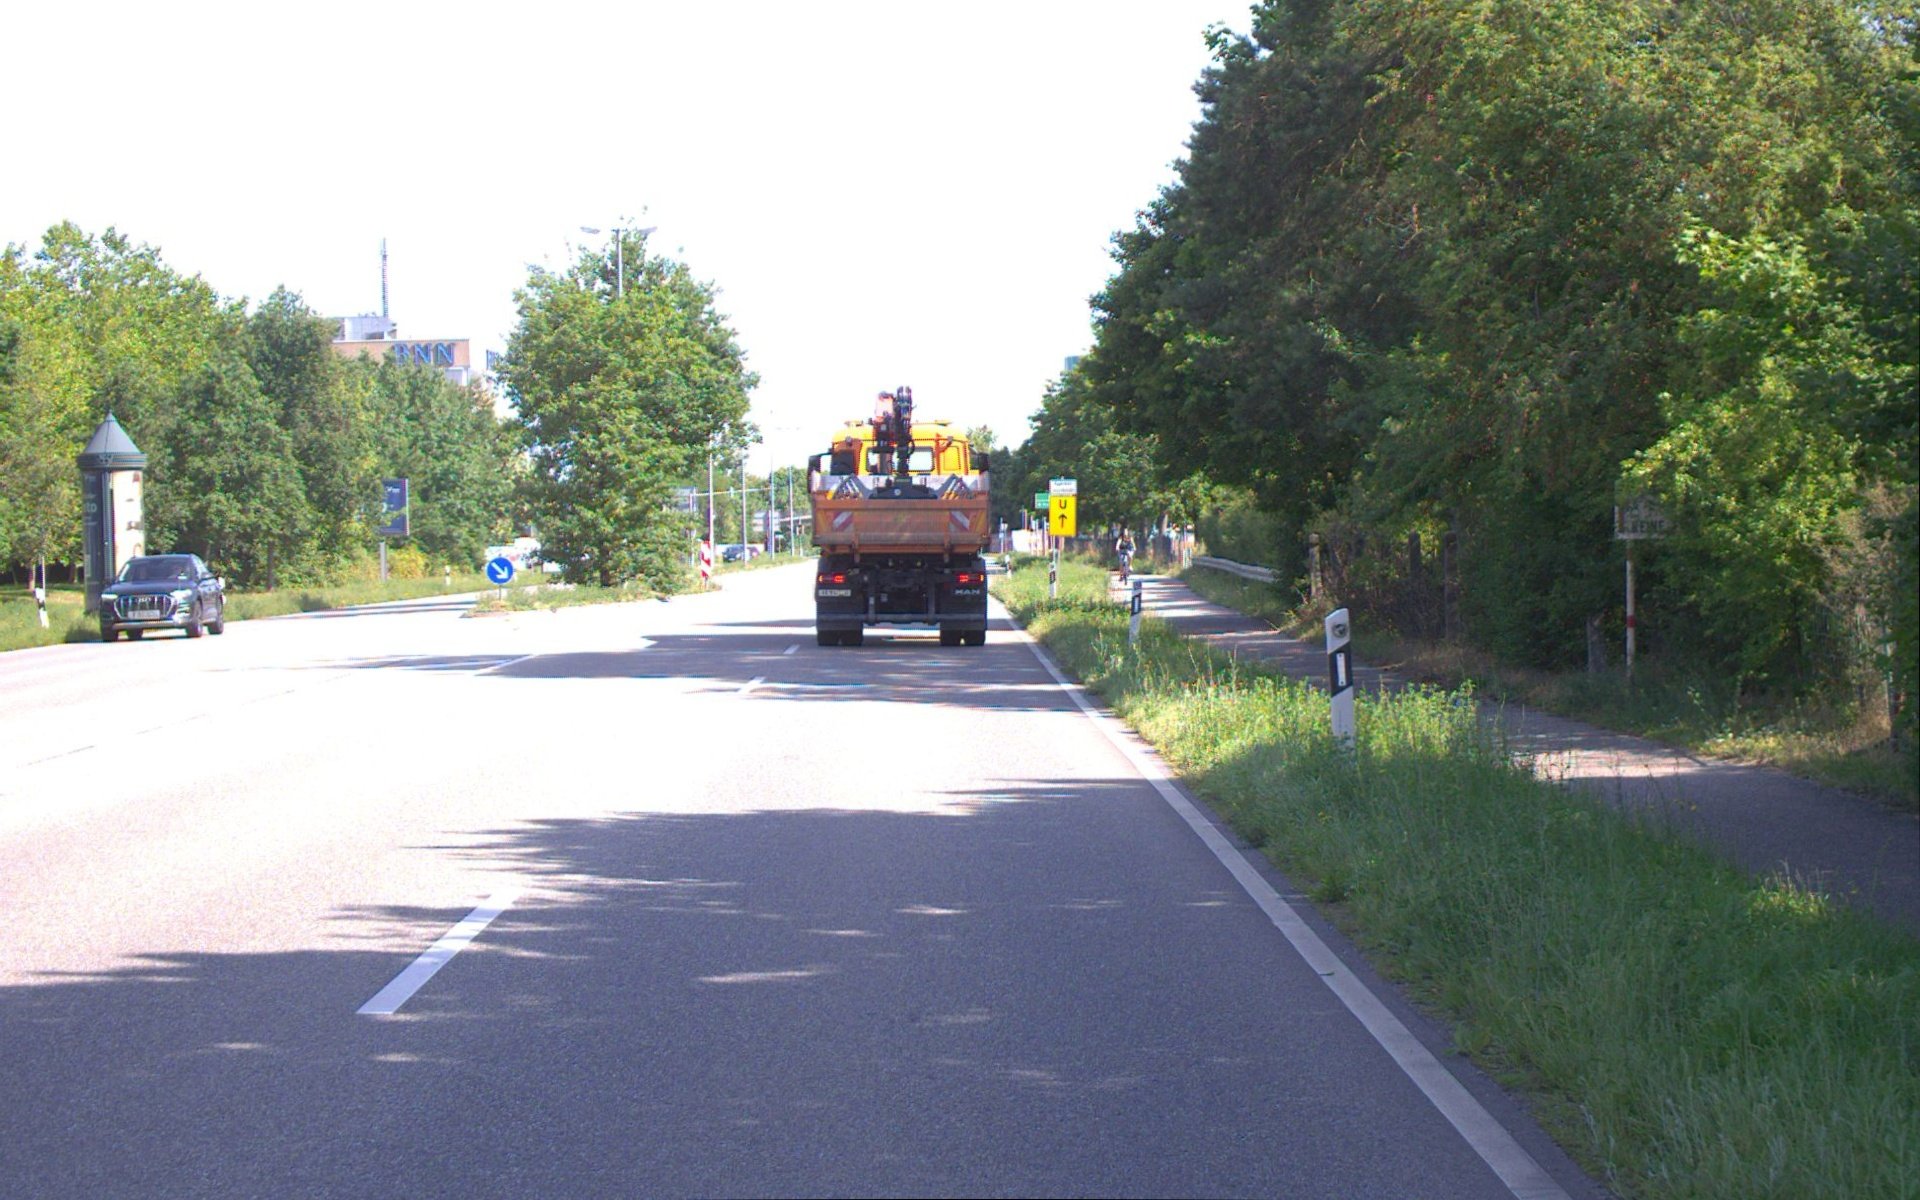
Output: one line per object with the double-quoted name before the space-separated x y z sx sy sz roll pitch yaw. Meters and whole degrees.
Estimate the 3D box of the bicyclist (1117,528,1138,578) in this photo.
"bicyclist" 5.236 -1.478 107.580 0.558 1.552 0.557 -2 1 -1

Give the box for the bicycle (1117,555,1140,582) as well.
"bicycle" 5.262 -0.984 107.602 0.558 0.813 1.964 -2 1 -1

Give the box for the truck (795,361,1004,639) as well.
"truck" -1.009 -1.479 51.973 2.871 3.867 7.401 1 1 -2

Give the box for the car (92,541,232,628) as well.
"car" -15.561 -0.334 67.243 1.800 1.566 4.000 -2 1 -1
